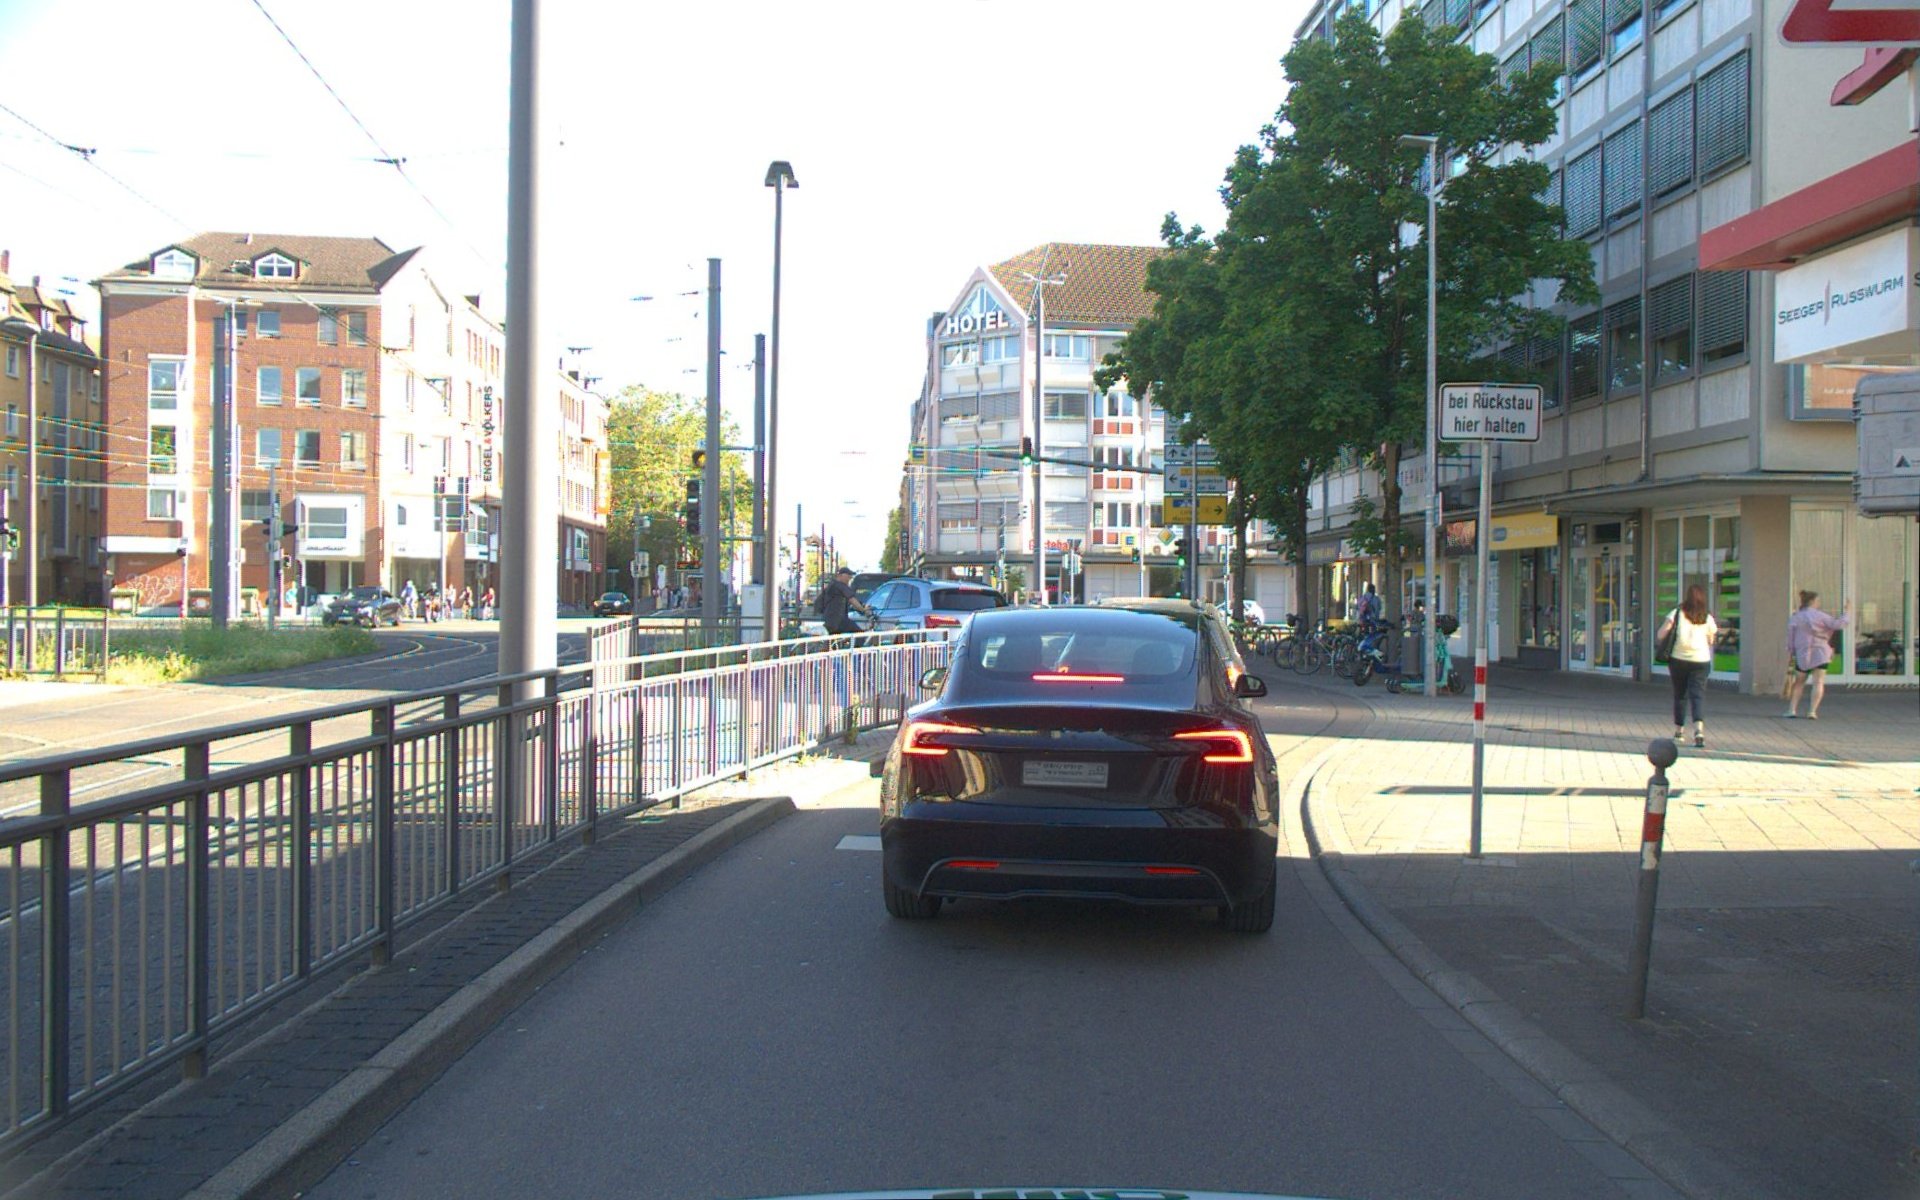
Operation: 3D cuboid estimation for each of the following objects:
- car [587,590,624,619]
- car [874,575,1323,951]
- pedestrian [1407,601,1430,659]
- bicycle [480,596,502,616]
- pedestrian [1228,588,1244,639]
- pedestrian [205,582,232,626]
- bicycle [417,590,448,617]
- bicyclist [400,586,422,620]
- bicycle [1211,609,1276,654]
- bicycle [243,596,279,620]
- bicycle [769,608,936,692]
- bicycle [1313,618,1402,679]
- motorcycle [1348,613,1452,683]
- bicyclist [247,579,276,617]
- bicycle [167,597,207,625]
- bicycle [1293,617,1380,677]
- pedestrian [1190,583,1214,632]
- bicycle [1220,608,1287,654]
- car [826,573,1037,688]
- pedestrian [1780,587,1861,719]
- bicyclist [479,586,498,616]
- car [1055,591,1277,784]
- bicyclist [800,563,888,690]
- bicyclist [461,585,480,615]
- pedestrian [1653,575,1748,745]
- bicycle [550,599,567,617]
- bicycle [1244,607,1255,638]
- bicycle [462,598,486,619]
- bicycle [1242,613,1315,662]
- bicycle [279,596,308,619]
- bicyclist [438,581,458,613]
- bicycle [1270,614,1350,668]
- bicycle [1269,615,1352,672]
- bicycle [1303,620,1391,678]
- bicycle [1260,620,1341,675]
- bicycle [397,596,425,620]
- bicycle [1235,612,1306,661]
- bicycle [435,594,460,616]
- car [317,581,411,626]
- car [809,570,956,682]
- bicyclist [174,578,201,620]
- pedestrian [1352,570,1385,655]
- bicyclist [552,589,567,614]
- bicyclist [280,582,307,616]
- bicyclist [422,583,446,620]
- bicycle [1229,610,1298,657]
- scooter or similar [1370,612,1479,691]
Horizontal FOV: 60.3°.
[{"bbox_3d":[-22.124,0.275,103.411,1.663,1.762,3.704,1,0,-3],"label":"car"},{"bbox_3d":[0.697,0.663,8.691,1.791,1.481,4.002,1,0,4],"label":"car"},{"bbox_3d":[10.941,0.717,39.473,0.381,1.367,0.513,1,-1,1],"label":"pedestrian"},{"bbox_3d":[-25.499,0.324,90.009,0.518,1.107,2.225,0,0,1],"label":"bicycle"},{"bbox_3d":[9.597,0.474,57.531,0.515,1.740,0.403,1,-1,5],"label":"pedestrian"},{"bbox_3d":[-31.471,0.181,70.220,0.767,1.852,0.746,1,-1,1],"label":"pedestrian"},{"bbox_3d":[-22.334,0.156,70.065,0.449,1.112,2.202,1,0,3],"label":"bicycle"},{"bbox_3d":[-26.123,0.139,78.743,0.767,1.590,0.746,1,-1,1],"label":"bicyclist"},{"bbox_3d":[7.289,0.800,42.566,1.616,1.118,0.350,1,-1,1],"label":"bicycle"},{"bbox_3d":[-28.442,0.324,67.349,0.513,0.988,2.246,1,0,-1],"label":"bicycle"},{"bbox_3d":[-1.433,0.667,22.379,2.313,1.072,0.622,1,-1,-39],"label":"bicycle"},{"bbox_3d":[7.476,0.917,31.114,1.620,1.118,0.349,1,-1,-11],"label":"bicycle"},{"bbox_3d":[7.805,0.844,29.357,1.673,1.194,0.541,1,-1,-3],"label":"motorcycle"},{"bbox_3d":[-28.414,-0.064,67.289,0.880,1.529,0.696,1,-1,-1],"label":"bicyclist"},{"bbox_3d":[-28.262,0.388,60.511,0.437,0.988,2.246,1,0,-1],"label":"bicycle"},{"bbox_3d":[7.275,0.909,31.957,1.620,1.118,0.349,1,-1,-11],"label":"bicycle"},{"bbox_3d":[8.361,0.255,57.217,0.685,1.691,0.777,1,-1,-1],"label":"pedestrian"},{"bbox_3d":[7.359,0.776,41.473,1.616,1.118,0.350,0,0,1],"label":"bicycle"},{"bbox_3d":[-0.549,0.456,26.449,1.859,1.691,4.125,1,0,-25],"label":"car"},{"bbox_3d":[11.391,0.688,21.919,0.871,1.696,0.808,1,-1,23],"label":"pedestrian"},{"bbox_3d":[-25.585,0.057,89.719,0.767,1.590,0.746,0,0,1],"label":"bicyclist"},{"bbox_3d":[1.810,0.671,14.999,1.714,1.480,4.003,1,0,6],"label":"car"},{"bbox_3d":[-1.561,0.346,22.242,0.753,1.657,0.964,1,-1,-39],"label":"bicyclist"},{"bbox_3d":[-25.730,-0.005,86.908,0.767,1.590,0.746,0,0,1],"label":"bicyclist"},{"bbox_3d":[8.067,0.633,18.054,0.895,1.783,1.038,1,-1,22],"label":"pedestrian"},{"bbox_3d":[-26.292,0.523,108.279,0.518,1.107,2.225,1,0,1],"label":"bicycle"},{"bbox_3d":[9.974,0.784,57.037,0.325,1.052,1.257,1,0,8],"label":"bicycle"},{"bbox_3d":[-25.696,0.442,87.445,0.518,1.107,2.284,1,0,1],"label":"bicycle"},{"bbox_3d":[7.380,0.865,38.387,1.616,1.118,0.350,1,-1,1],"label":"bicycle"},{"bbox_3d":[-29.682,0.333,73.666,0.396,0.998,1.695,1,0,7],"label":"bicycle"},{"bbox_3d":[-25.982,-0.141,83.866,0.767,1.590,0.746,0,0,1],"label":"bicyclist"},{"bbox_3d":[7.496,0.873,35.436,1.616,1.118,0.350,1,-1,1],"label":"bicycle"},{"bbox_3d":[7.092,0.886,33.481,1.620,1.118,0.349,1,-1,-11],"label":"bicycle"},{"bbox_3d":[7.379,0.930,31.534,1.620,1.079,0.349,1,-1,-11],"label":"bicycle"},{"bbox_3d":[7.084,0.994,34.417,1.620,1.118,0.349,1,-1,-11],"label":"bicycle"},{"bbox_3d":[-26.132,0.377,78.699,0.526,1.107,2.225,1,0,1],"label":"bicycle"},{"bbox_3d":[7.396,0.866,39.414,1.616,1.118,0.350,1,-1,1],"label":"bicycle"},{"bbox_3d":[-25.958,0.238,83.850,0.518,1.107,2.284,0,0,1],"label":"bicycle"},{"bbox_3d":[-21.486,0.142,59.784,1.674,1.553,4.038,1,0,4],"label":"car"},{"bbox_3d":[-1.595,0.486,32.605,1.962,2.049,3.981,0,0,-17],"label":"car"},{"bbox_3d":[-28.255,-0.030,60.510,0.620,1.529,0.696,1,-1,-1],"label":"bicyclist"},{"bbox_3d":[9.882,0.299,40.045,0.648,2.049,0.579,1,-1,1],"label":"pedestrian"},{"bbox_3d":[-26.260,0.089,108.473,0.767,1.590,0.746,1,-1,1],"label":"bicyclist"},{"bbox_3d":[-29.690,-0.029,73.677,0.689,1.496,0.973,0,0,7],"label":"bicyclist"},{"bbox_3d":[-22.348,0.046,70.303,0.769,1.554,0.589,1,-1,4],"label":"bicyclist"},{"bbox_3d":[7.425,0.819,40.428,1.616,1.118,0.350,1,-1,1],"label":"bicycle"},{"bbox_3d":[7.659,0.839,27.280,1.610,1.236,0.644,1,-1,30],"label":"scooter or similar"}]
